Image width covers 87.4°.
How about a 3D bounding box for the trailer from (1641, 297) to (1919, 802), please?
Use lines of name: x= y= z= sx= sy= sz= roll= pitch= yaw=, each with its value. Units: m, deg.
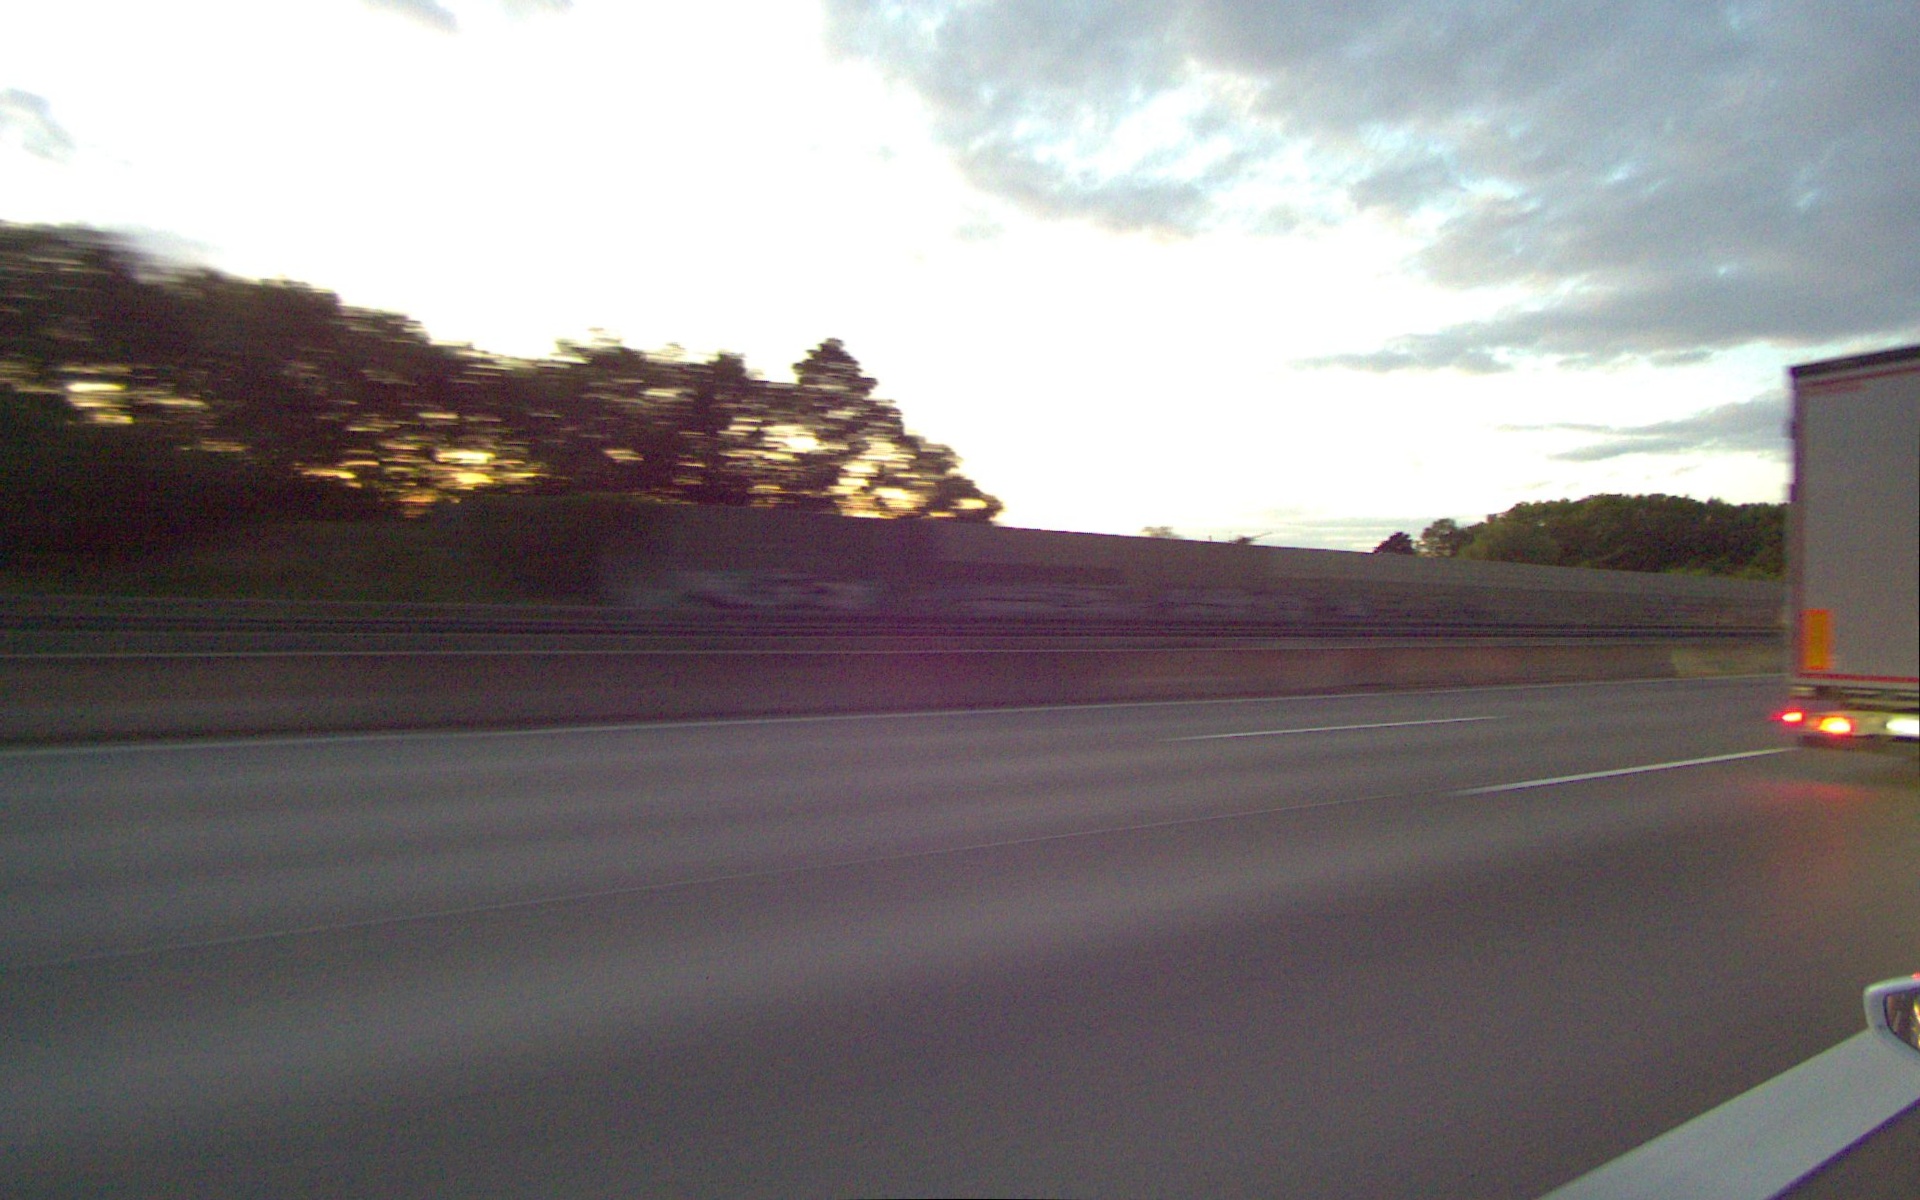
trailer: x=14.093 y=-0.097 z=12.446 sx=14.894 sy=4.170 sz=3.532 roll=3 pitch=-2 yaw=-32
